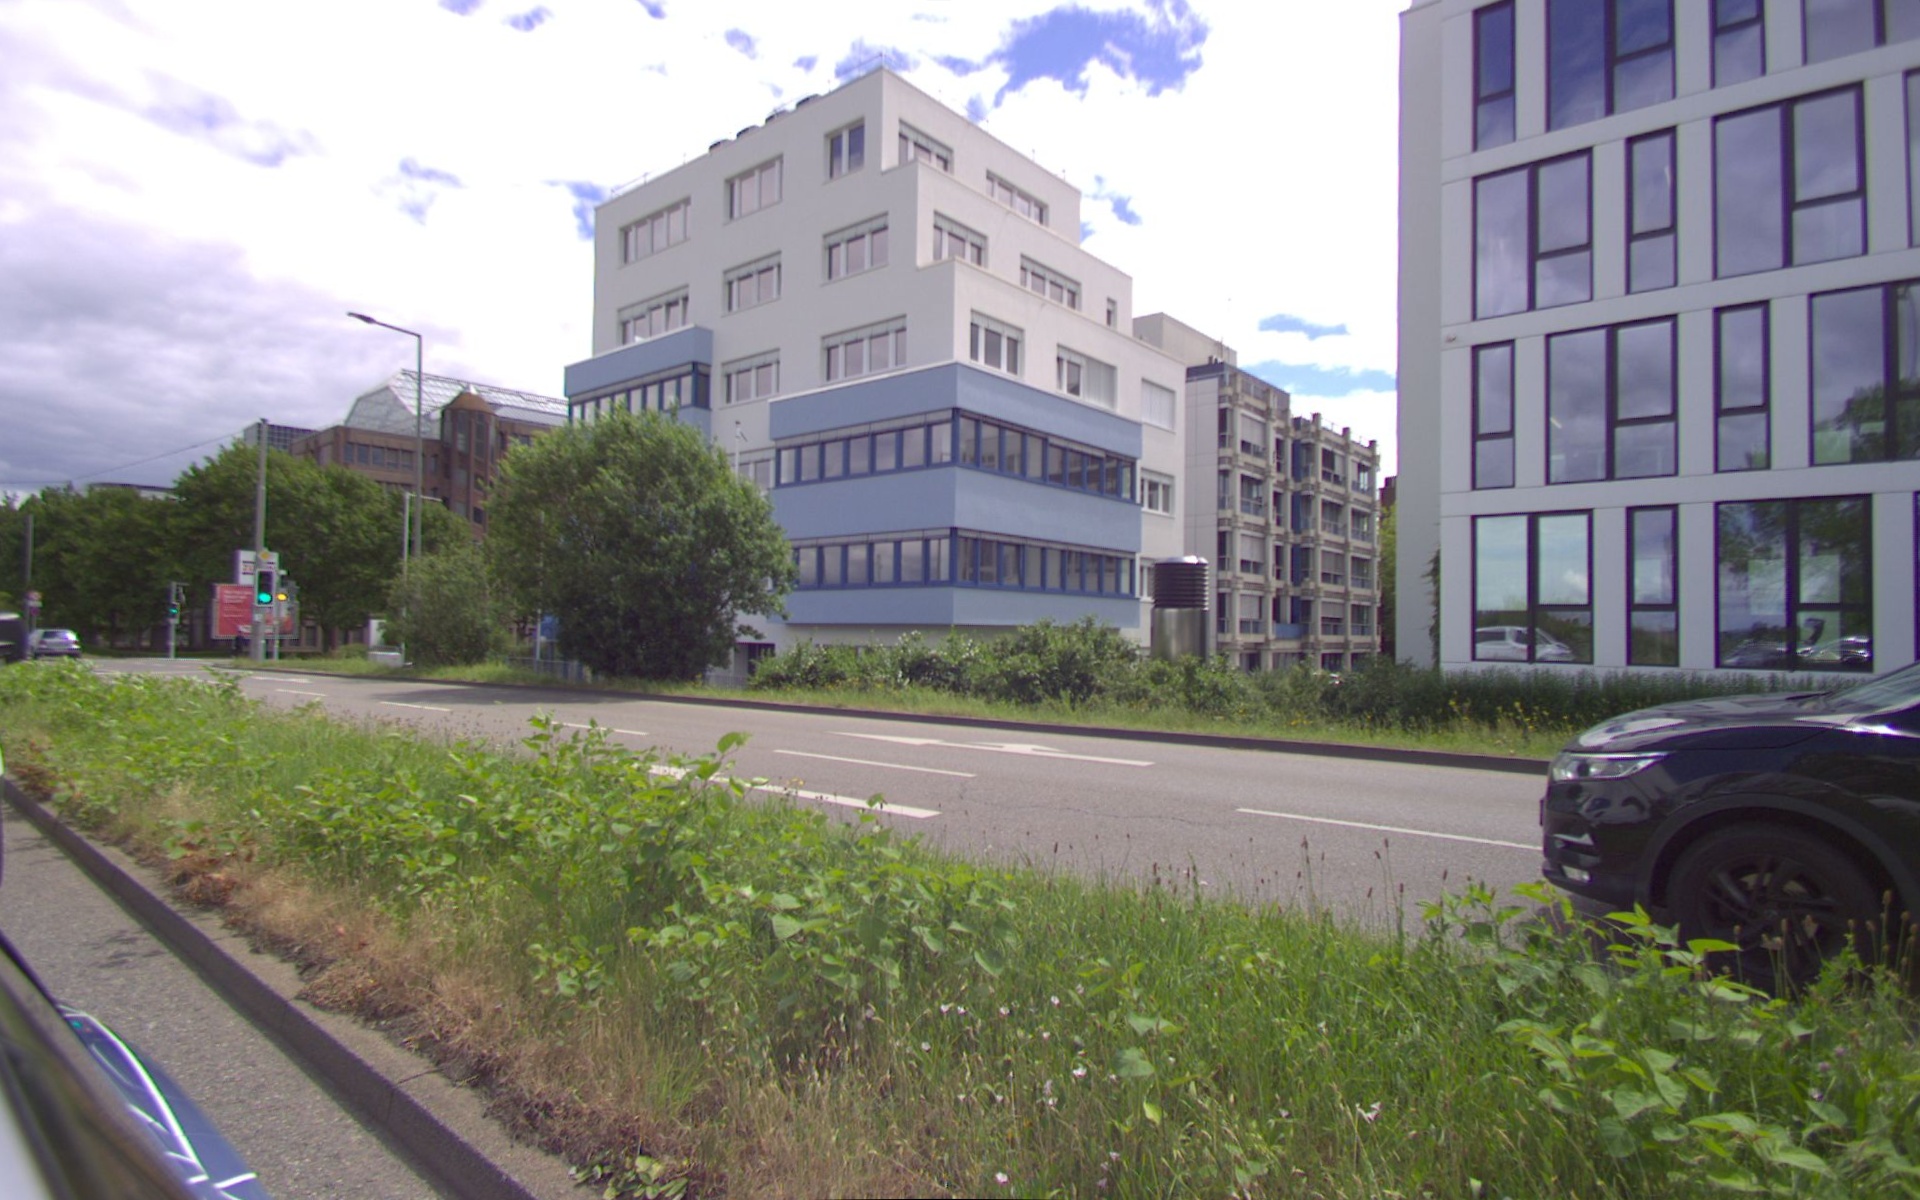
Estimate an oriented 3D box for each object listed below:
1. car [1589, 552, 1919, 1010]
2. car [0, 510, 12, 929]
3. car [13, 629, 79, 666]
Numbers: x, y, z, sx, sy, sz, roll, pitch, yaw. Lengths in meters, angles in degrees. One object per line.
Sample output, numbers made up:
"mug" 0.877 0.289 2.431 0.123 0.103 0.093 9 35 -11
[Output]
"car" 4.703 0.643 3.536 4.042 1.614 1.678 -1 -2 41
"car" -7.011 0.607 5.713 5.052 1.965 1.942 -2 -1 41
"car" -41.892 2.145 46.355 3.445 1.515 1.631 -1 0 37
